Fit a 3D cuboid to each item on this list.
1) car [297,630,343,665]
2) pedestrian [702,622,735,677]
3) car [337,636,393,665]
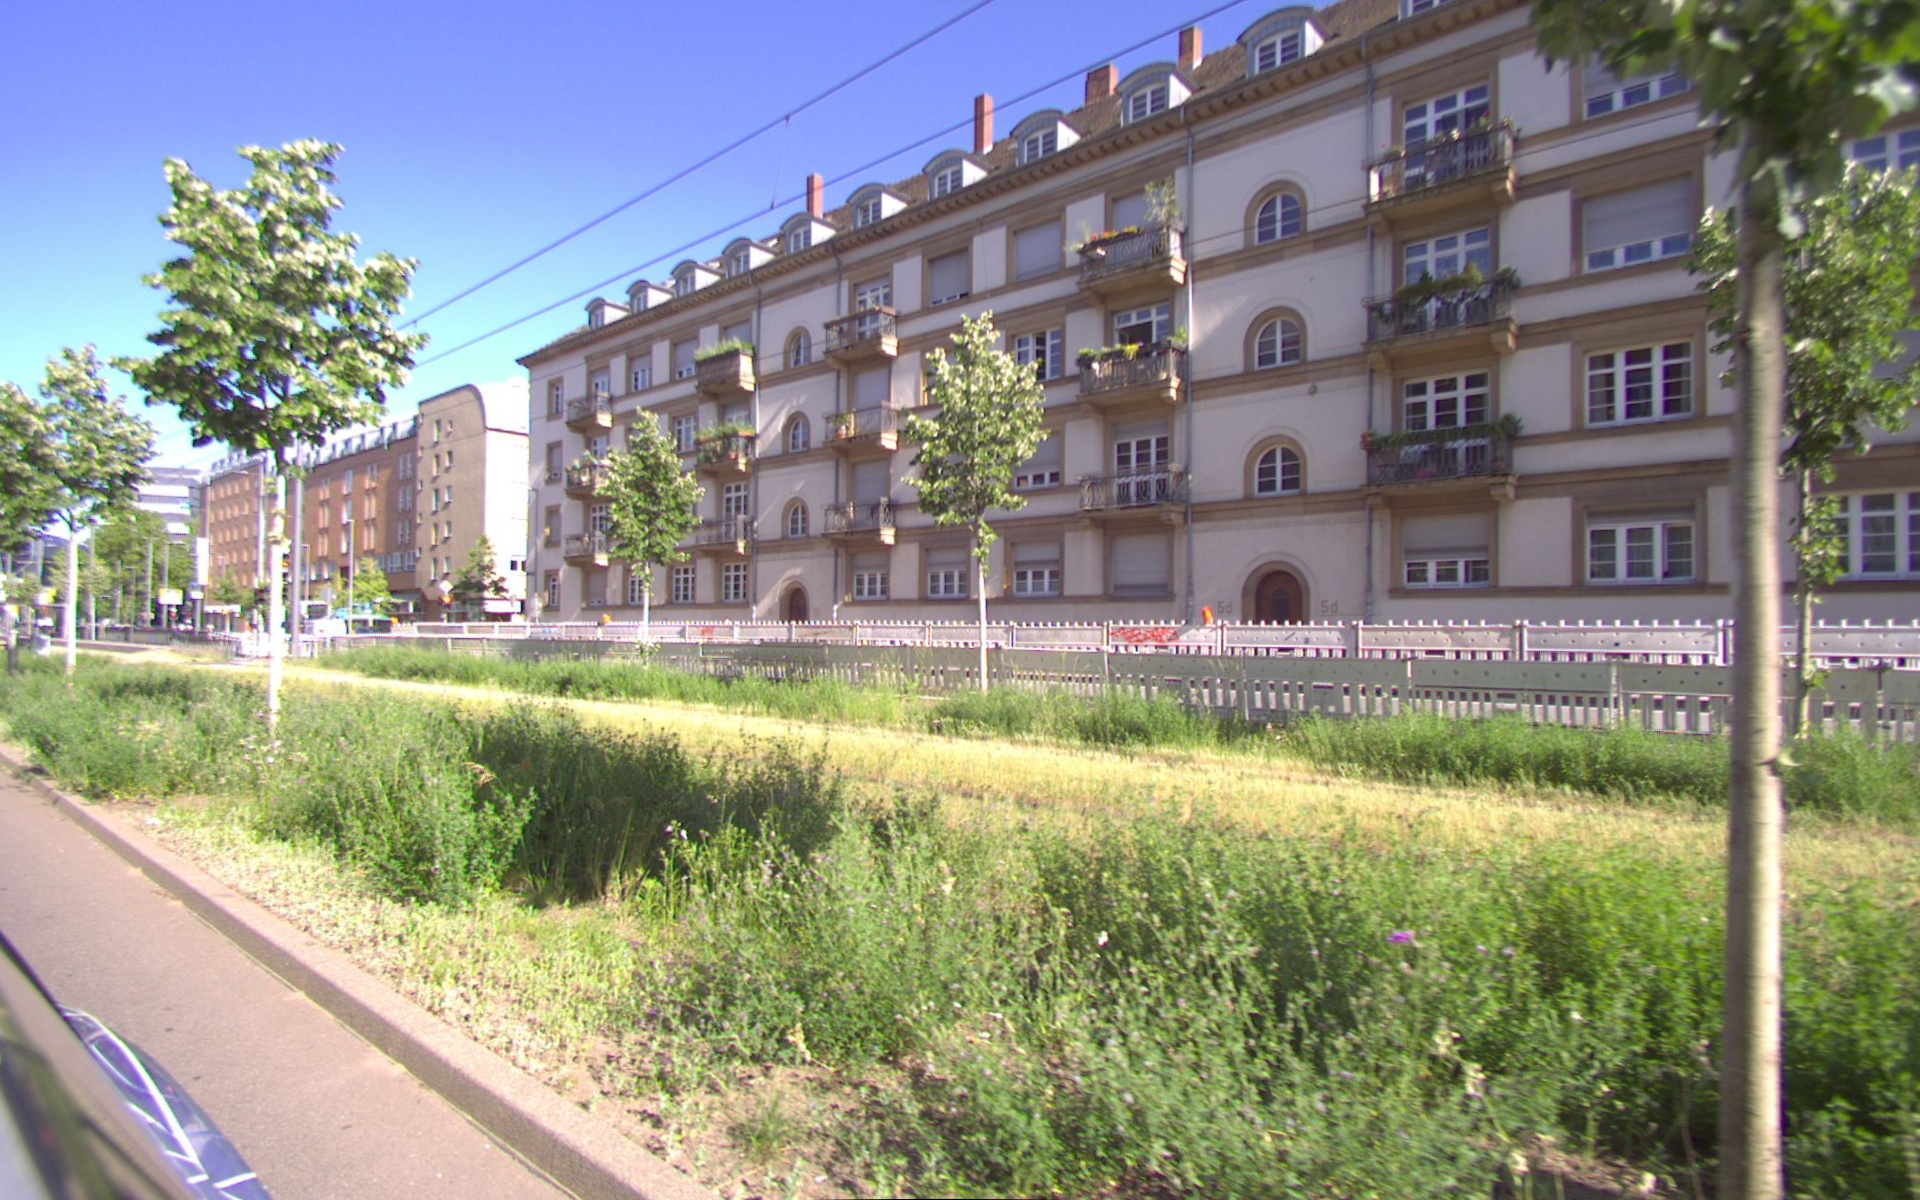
[{"bbox_3d":[-44.722,3.255,70.691,1.969,2.314,5.196,1,-1,-41],"label":"car"},{"bbox_3d":[-8.405,1.708,35.248,0.871,1.877,0.758,-1,-1,41],"label":"pedestrian"},{"bbox_3d":[-36.779,3.085,62.504,3.996,1.652,1.678,-1,-1,39],"label":"car"}]
